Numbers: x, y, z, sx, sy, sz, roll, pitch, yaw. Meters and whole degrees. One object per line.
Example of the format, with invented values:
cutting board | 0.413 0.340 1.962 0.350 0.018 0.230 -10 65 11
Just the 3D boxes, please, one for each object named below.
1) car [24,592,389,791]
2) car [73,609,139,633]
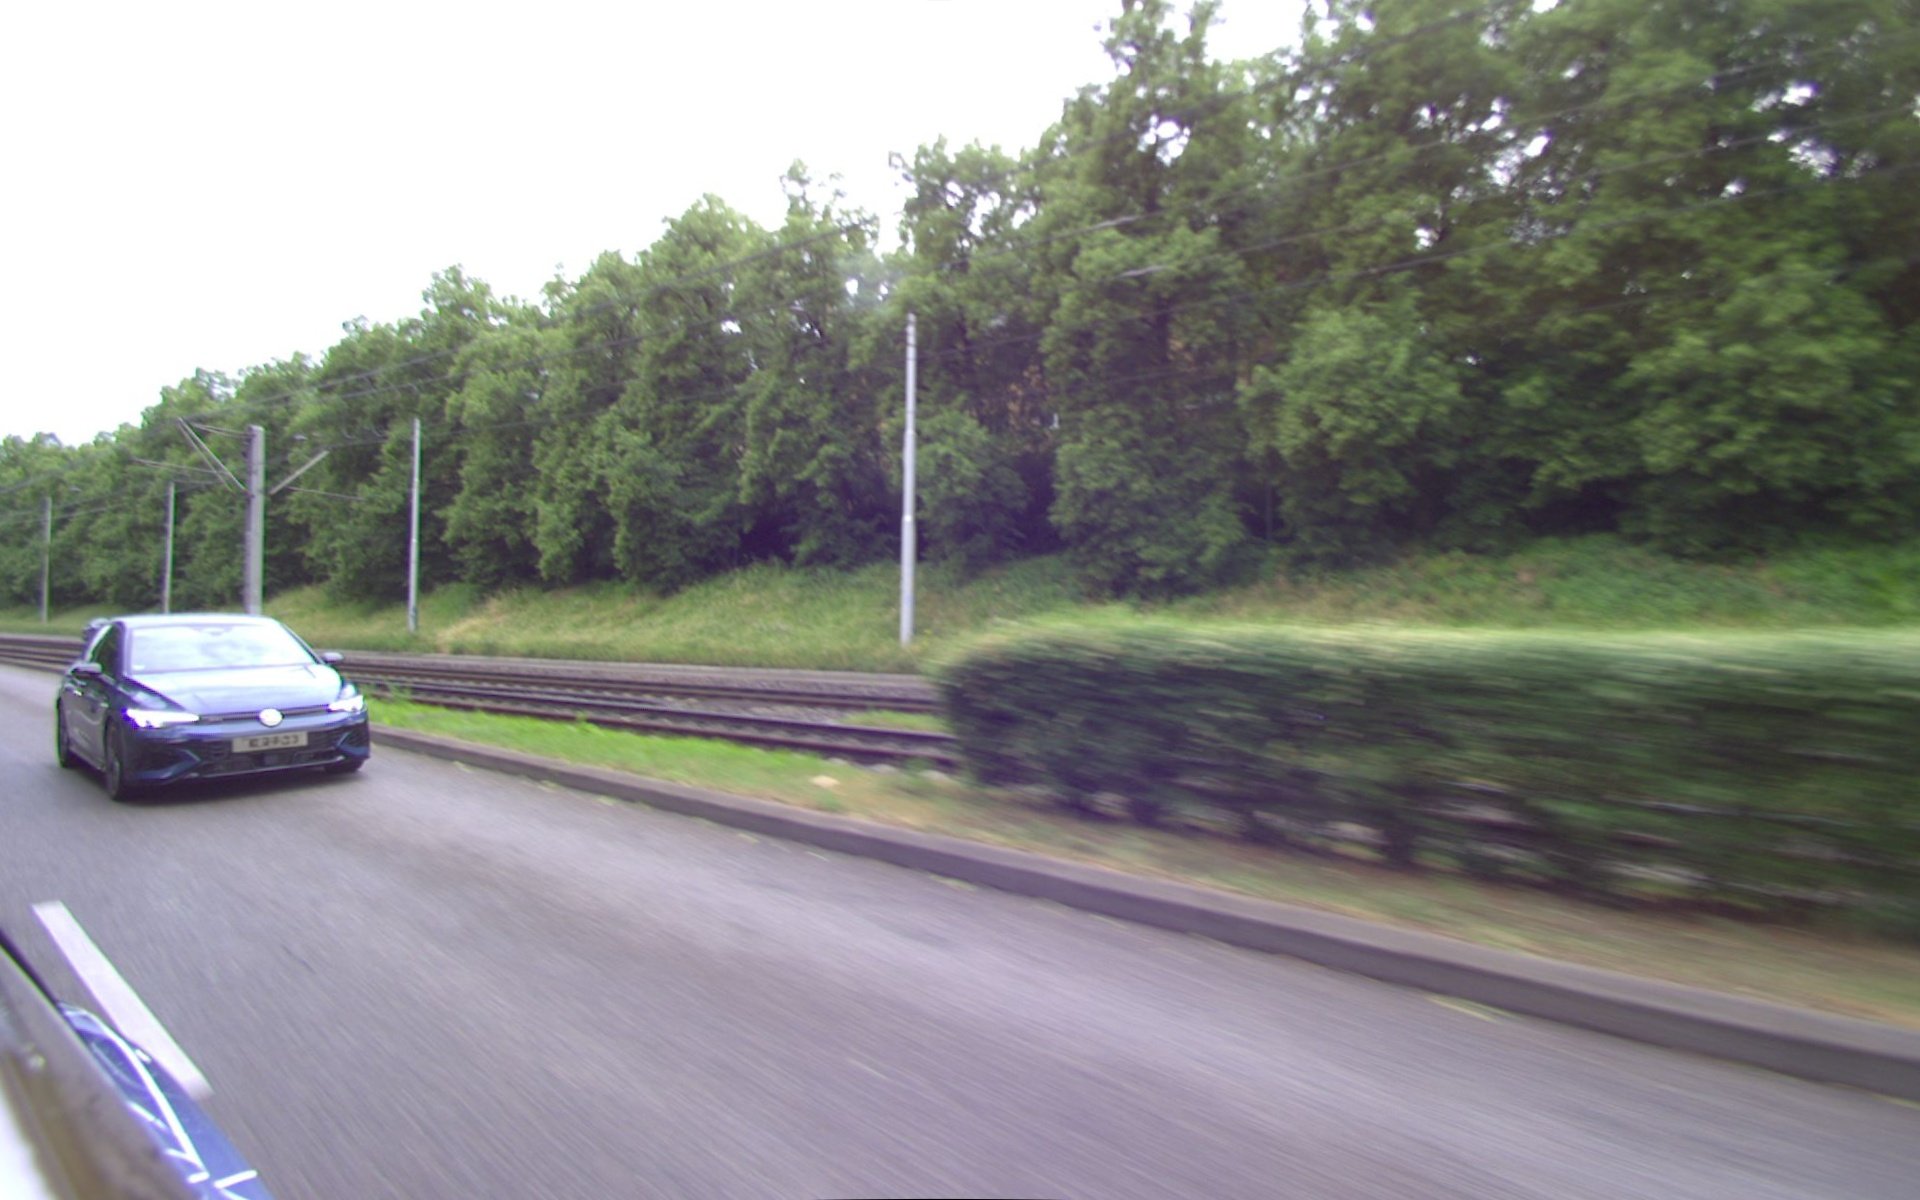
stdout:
car | -7.054 0.660 9.294 4.344 1.389 1.789 -1 1 41
car | -53.574 1.314 63.454 4.418 1.442 1.977 -1 -2 33
